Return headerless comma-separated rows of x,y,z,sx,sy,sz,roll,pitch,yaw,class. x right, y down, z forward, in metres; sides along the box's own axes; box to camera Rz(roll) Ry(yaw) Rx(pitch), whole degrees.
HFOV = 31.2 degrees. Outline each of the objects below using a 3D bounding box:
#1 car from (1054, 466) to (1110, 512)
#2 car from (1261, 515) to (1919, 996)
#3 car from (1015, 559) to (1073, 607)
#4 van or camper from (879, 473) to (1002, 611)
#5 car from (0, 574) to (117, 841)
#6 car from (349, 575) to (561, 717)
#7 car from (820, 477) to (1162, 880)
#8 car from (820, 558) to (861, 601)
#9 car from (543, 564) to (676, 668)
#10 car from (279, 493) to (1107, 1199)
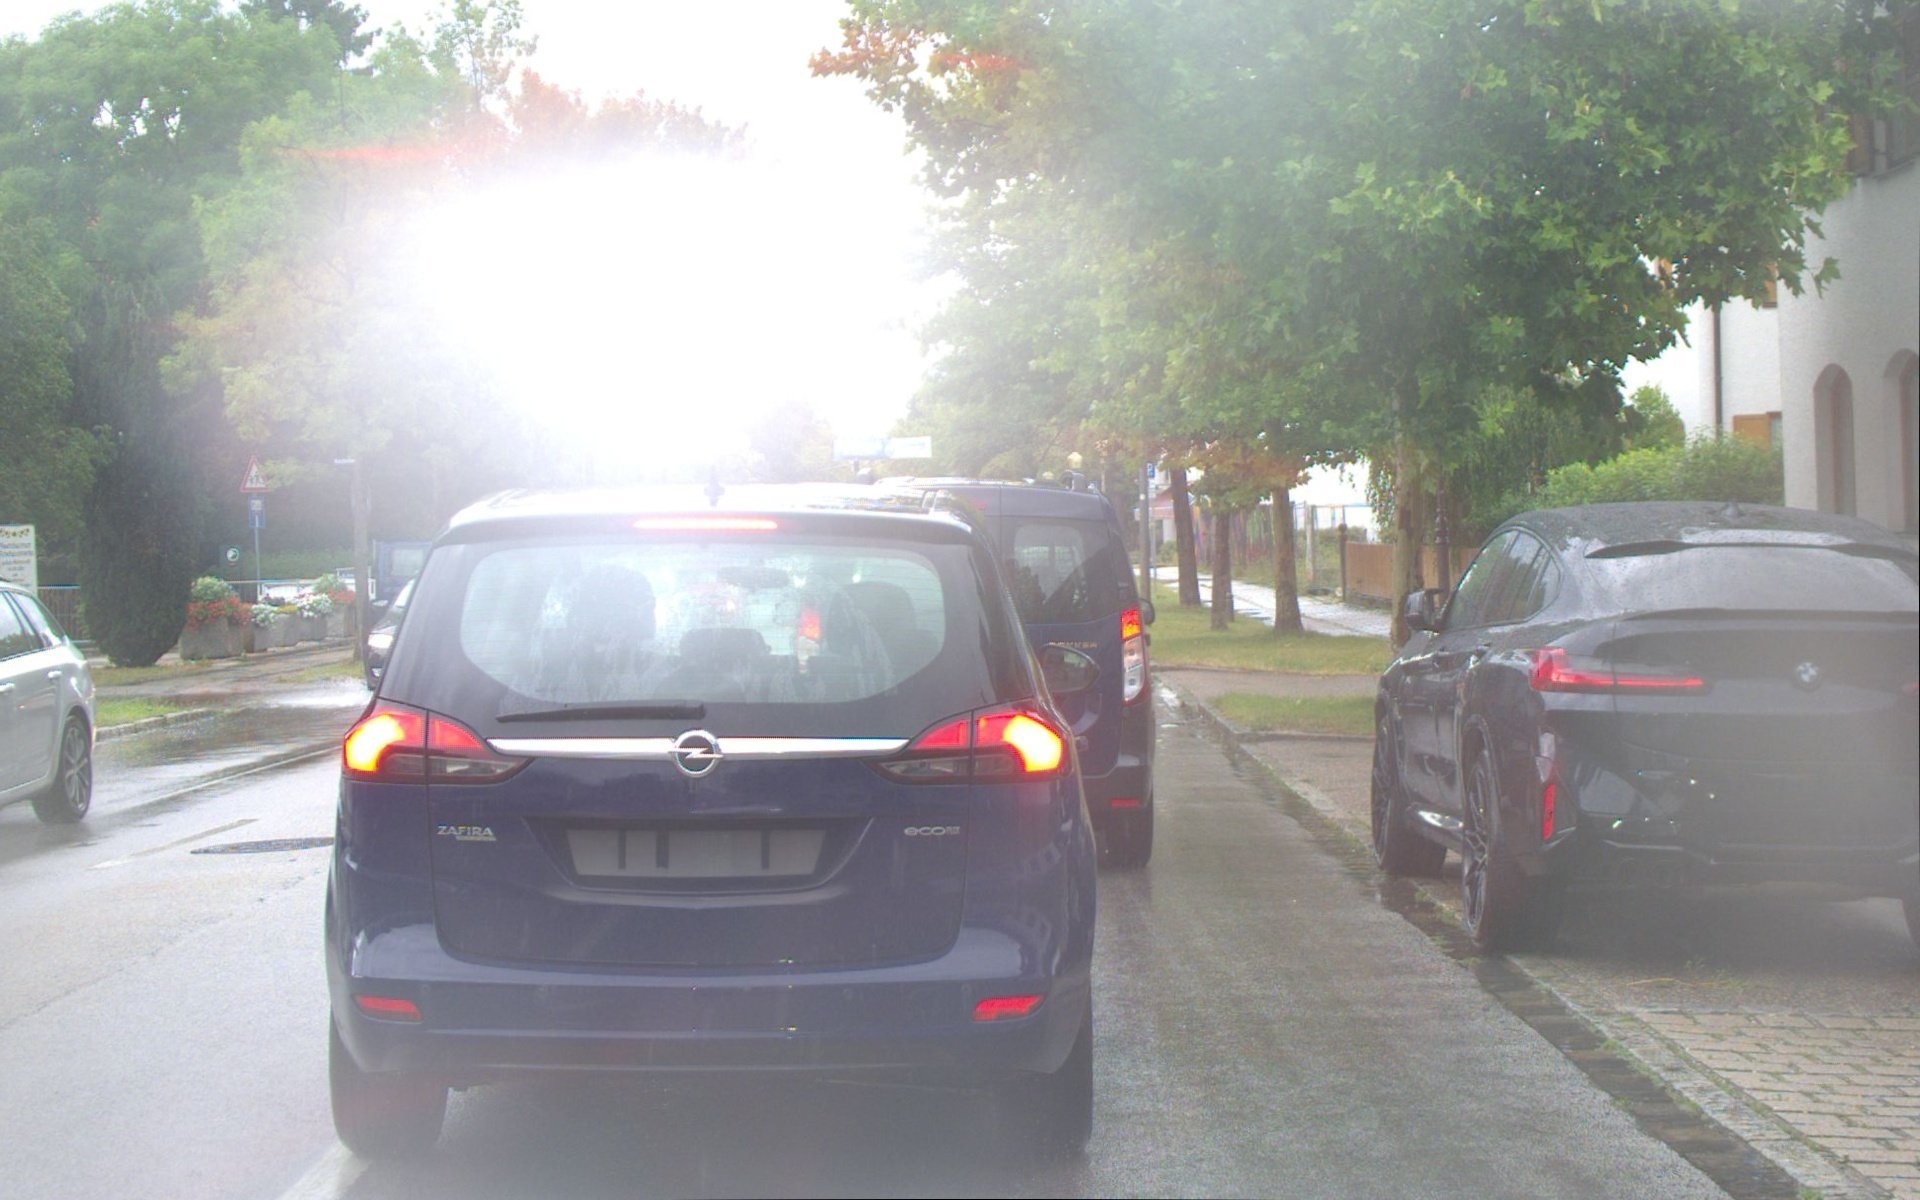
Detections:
3.950,-3.583,111.470,1.630,1.373,3.623,-3,1,0,car
2.411,0.487,13.232,2.117,1.576,3.936,0,1,-1,car
2.466,-0.506,101.639,1.630,1.373,3.623,0,0,0,car
-0.385,-1.190,70.516,2.360,2.656,5.372,-2,1,0,van or camper
-5.930,0.611,18.158,1.778,1.371,4.184,-3,1,1,car
-5.531,0.470,38.100,1.580,1.371,4.184,-3,1,1,car
0.136,0.320,16.664,1.500,1.770,3.112,0,1,0,car
-4.546,-0.768,130.787,1.476,1.618,3.691,0,0,-1,car
-5.080,0.211,50.090,1.473,1.371,3.208,-3,1,1,car
-0.572,0.543,9.182,1.768,1.599,3.663,0,1,0,car
